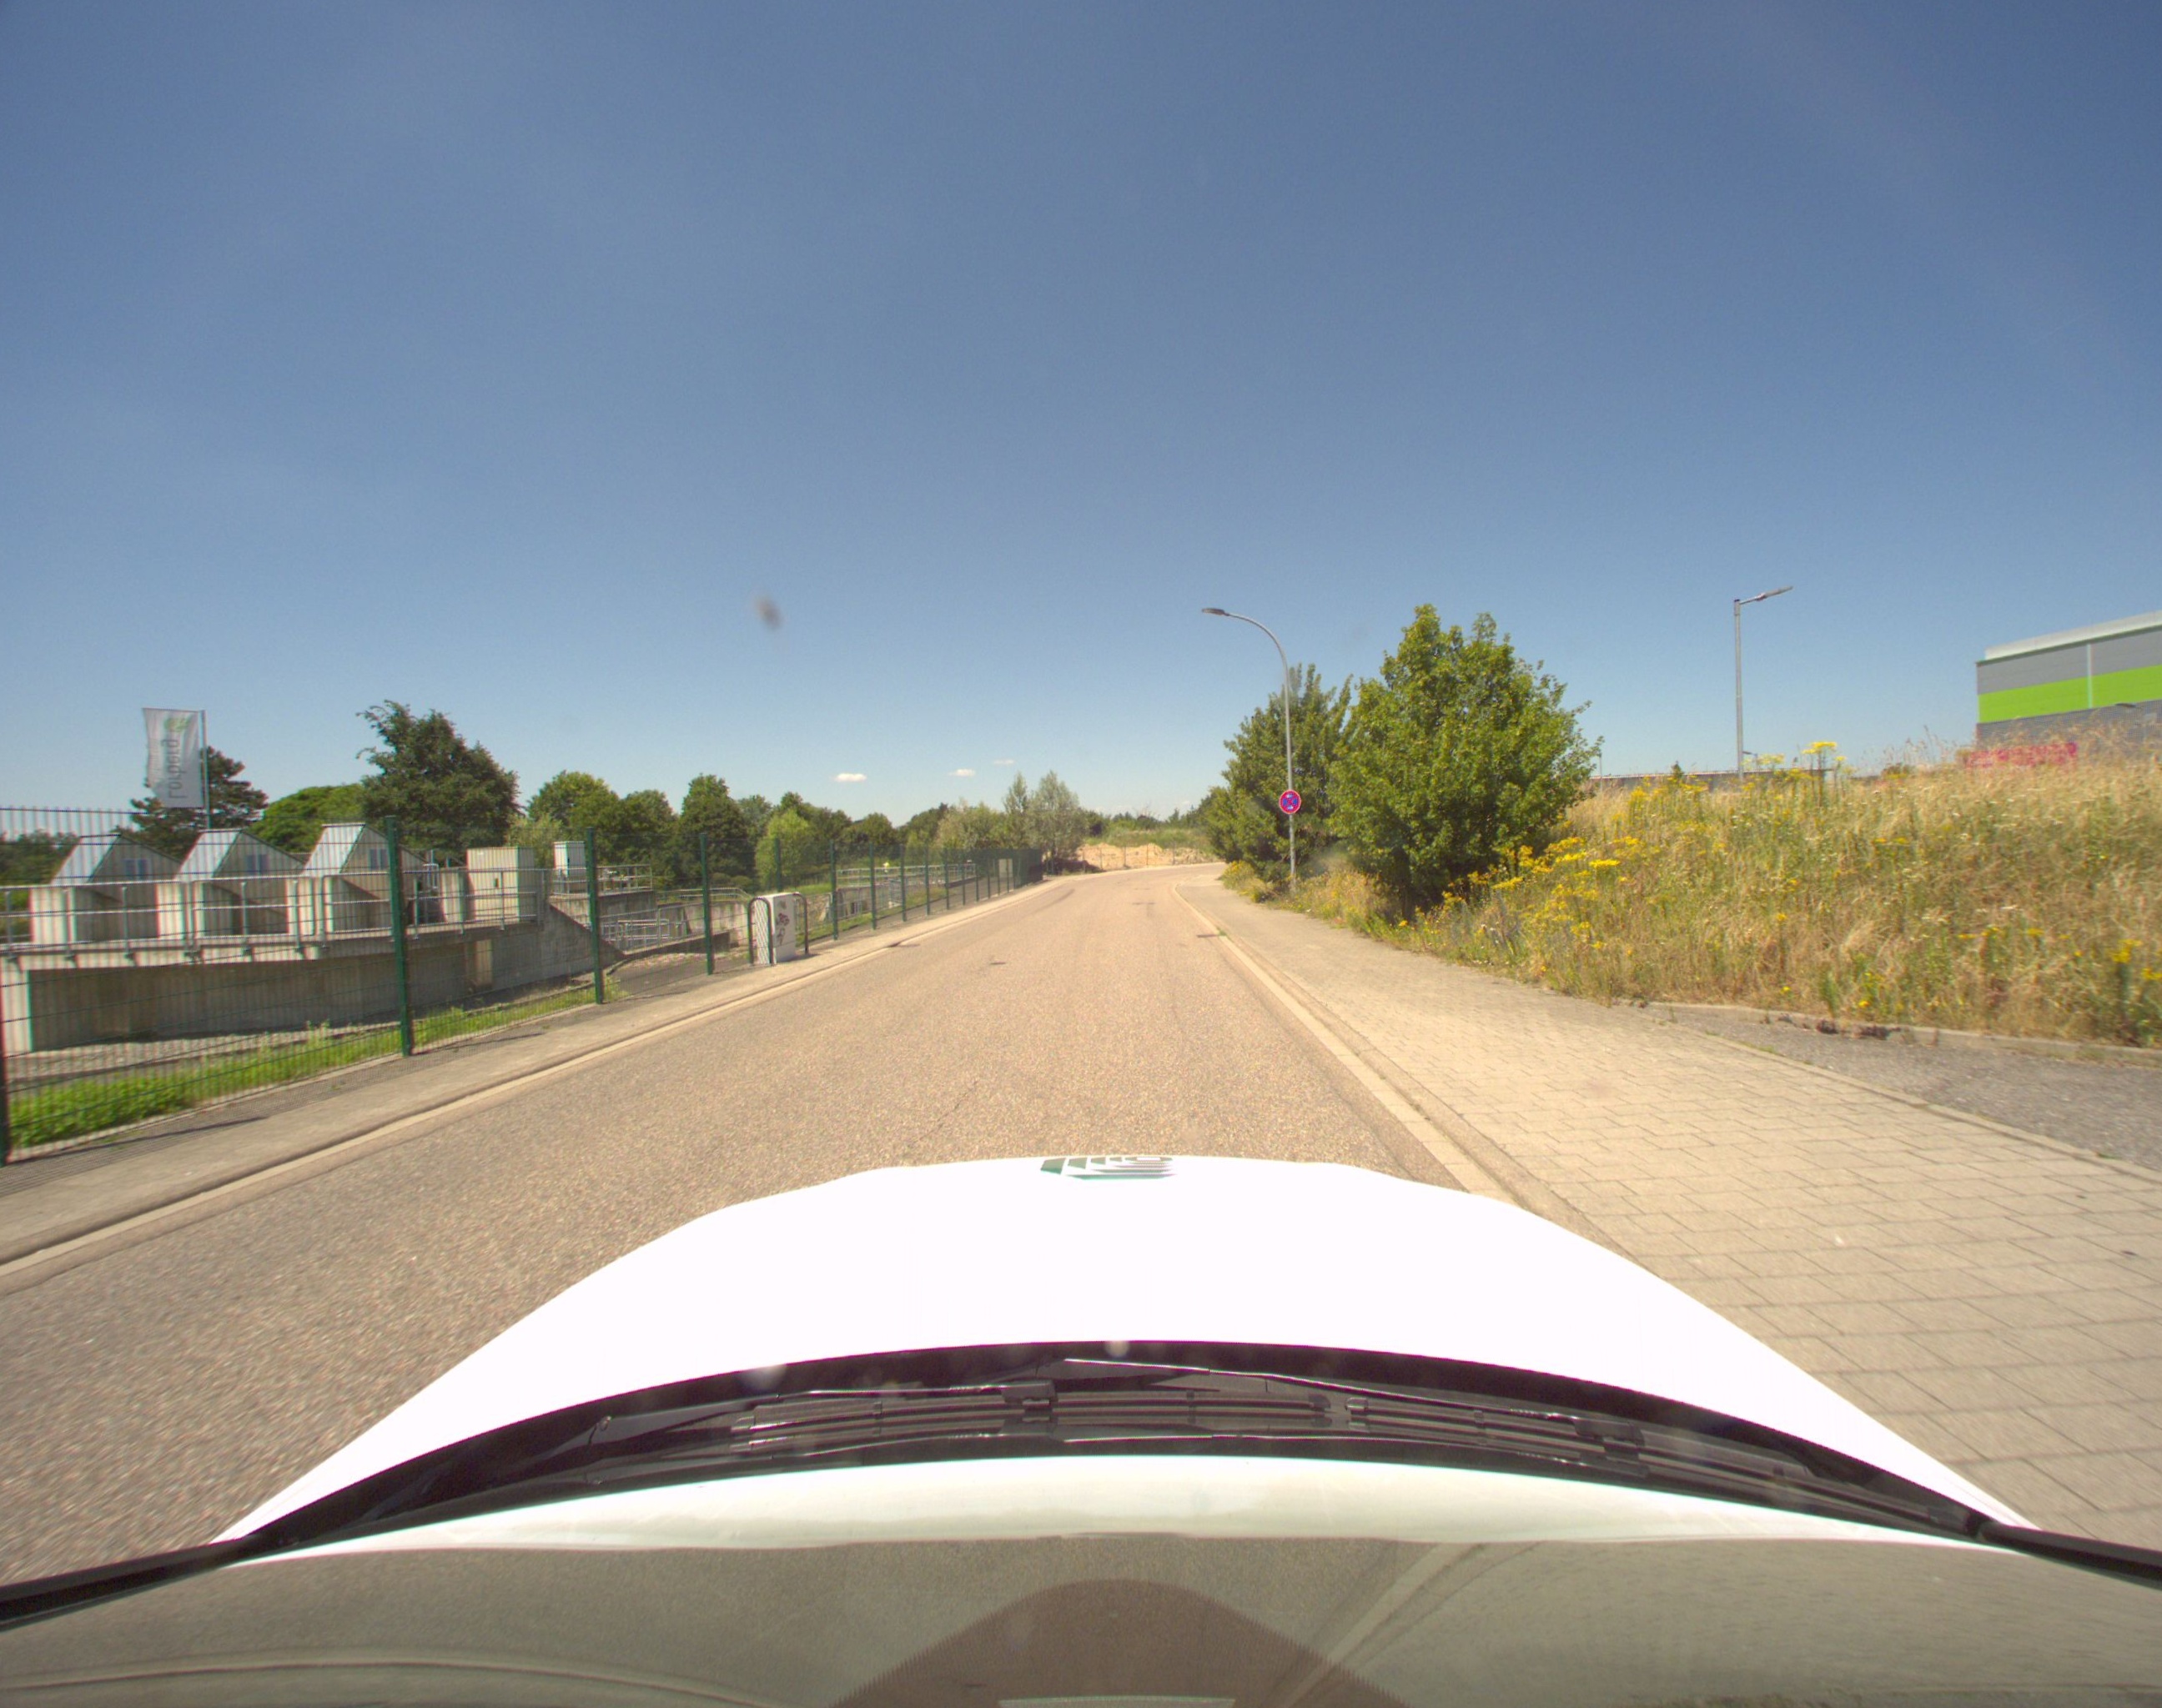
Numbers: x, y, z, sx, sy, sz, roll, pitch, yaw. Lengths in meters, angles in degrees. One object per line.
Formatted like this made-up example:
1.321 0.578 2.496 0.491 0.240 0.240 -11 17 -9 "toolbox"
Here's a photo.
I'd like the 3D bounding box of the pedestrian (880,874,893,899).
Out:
-14.718 2.474 61.683 0.603 1.839 0.805 -4 0 2 "pedestrian"
